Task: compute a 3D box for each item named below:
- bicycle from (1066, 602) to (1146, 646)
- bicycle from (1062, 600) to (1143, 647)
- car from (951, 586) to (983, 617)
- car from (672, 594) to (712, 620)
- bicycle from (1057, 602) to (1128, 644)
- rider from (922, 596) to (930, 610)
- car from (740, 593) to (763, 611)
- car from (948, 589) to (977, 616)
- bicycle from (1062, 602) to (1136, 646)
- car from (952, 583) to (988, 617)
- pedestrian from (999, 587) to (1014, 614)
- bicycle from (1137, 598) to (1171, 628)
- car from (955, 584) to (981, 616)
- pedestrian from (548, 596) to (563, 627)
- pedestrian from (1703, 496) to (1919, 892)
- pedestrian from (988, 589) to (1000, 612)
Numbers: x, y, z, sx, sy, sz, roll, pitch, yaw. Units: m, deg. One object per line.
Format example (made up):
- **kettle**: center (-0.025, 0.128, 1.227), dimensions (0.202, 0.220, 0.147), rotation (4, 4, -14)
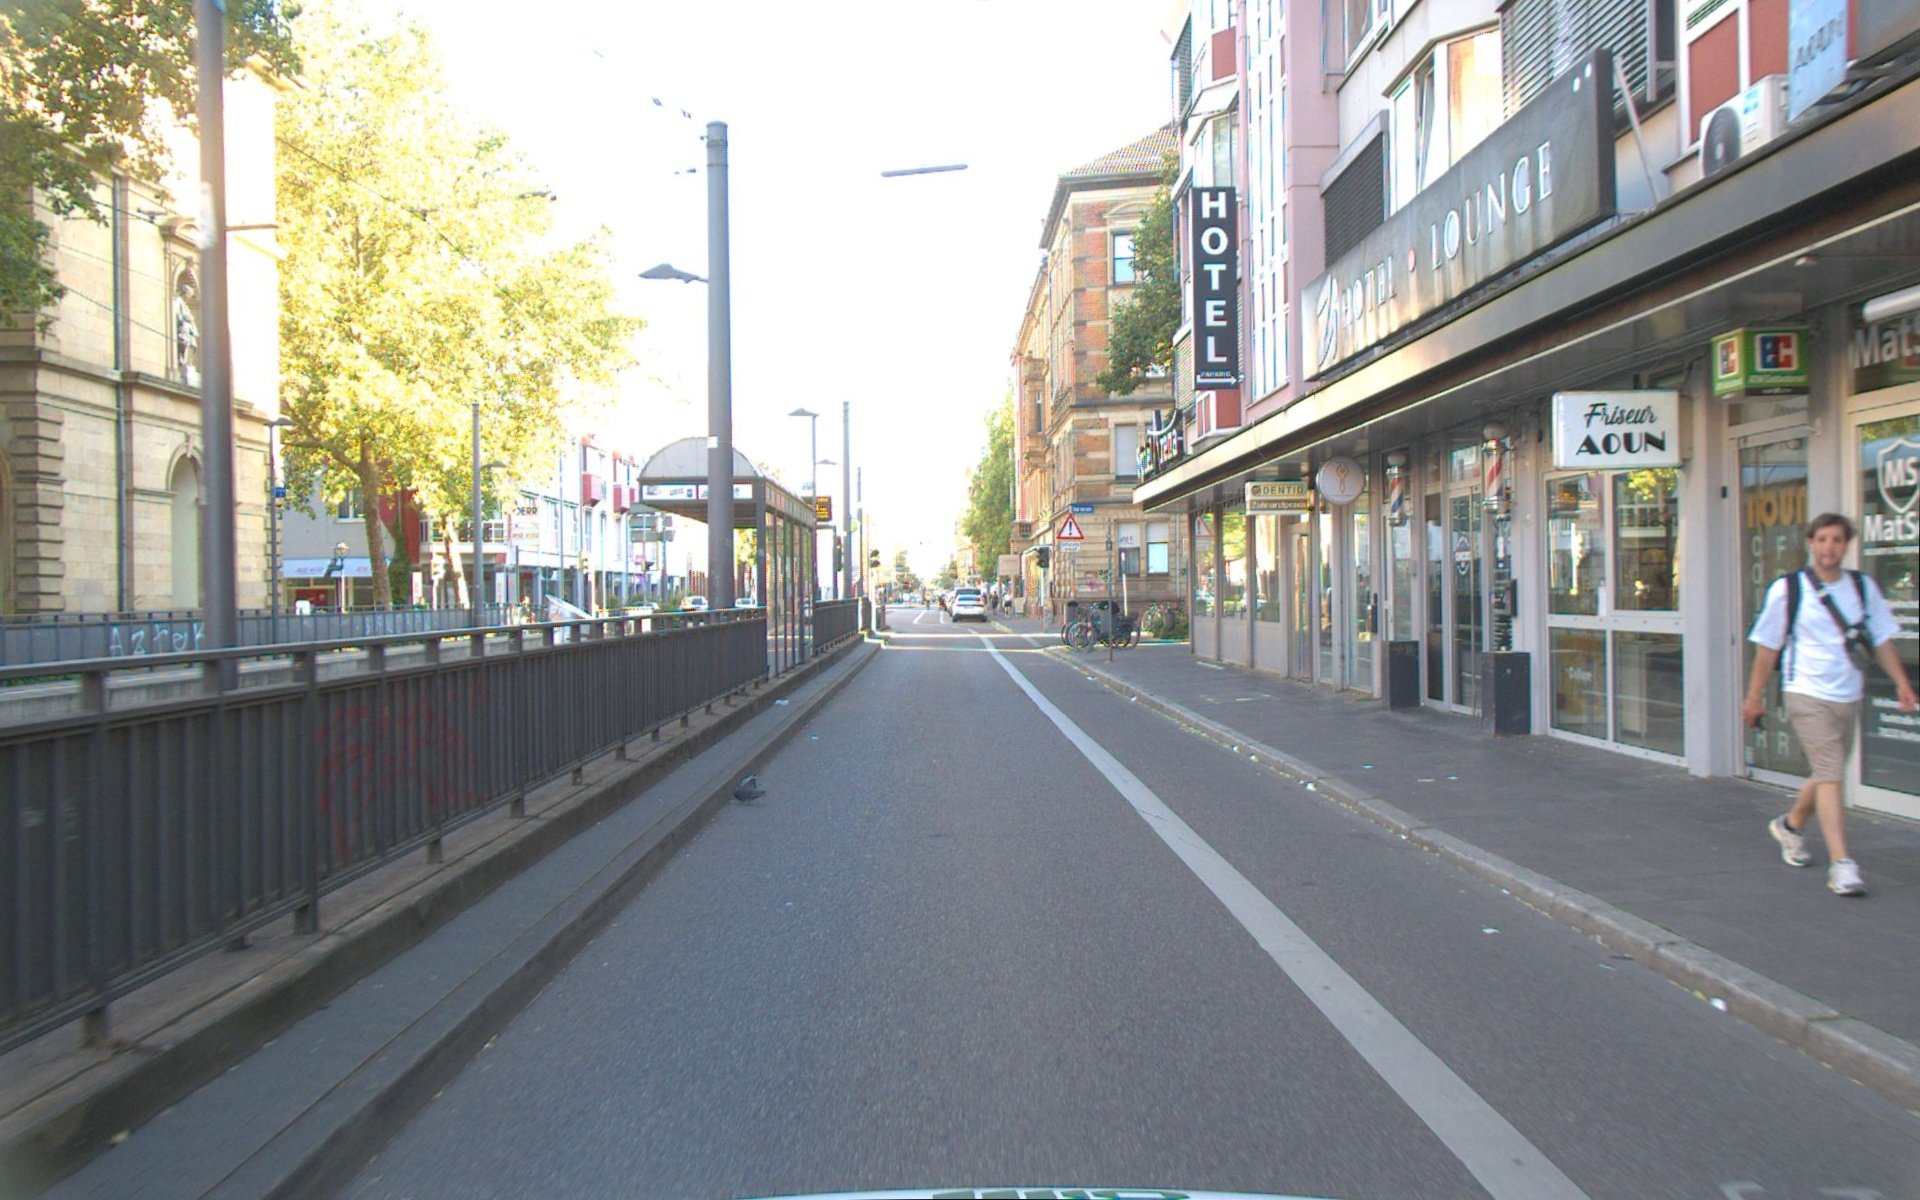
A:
- **bicycle**: center (3.607, 0.586, 40.934), dimensions (1.875, 1.066, 0.680), rotation (-1, 0, -4)
- **bicycle**: center (3.578, 0.588, 41.591), dimensions (1.931, 1.124, 0.614), rotation (-1, 0, -4)
- **car**: center (0.465, 0.100, 103.358), dimensions (1.915, 1.901, 4.989), rotation (1, 0, 0)
- **car**: center (-18.549, 0.522, 114.689), dimensions (2.048, 1.743, 4.817), rotation (1, -1, -2)
- **bicycle**: center (3.511, 0.606, 43.993), dimensions (1.797, 1.072, 0.710), rotation (-1, 0, -4)
- **rider**: center (-3.876, 0.334, 187.647), dimensions (0.865, 1.507, 0.713), rotation (1, 0, 0)
- **car**: center (-18.748, 0.193, 148.826), dimensions (1.832, 1.628, 4.251), rotation (0, 0, -4)
- **car**: center (0.144, 0.186, 119.460), dimensions (1.910, 1.819, 5.179), rotation (1, 0, -2)
- **bicycle**: center (3.558, 0.608, 42.320), dimensions (1.797, 1.072, 0.717), rotation (-1, 0, -4)
- **car**: center (0.521, 0.027, 91.353), dimensions (1.926, 1.802, 4.875), rotation (0, 0, 0)
- **pedestrian**: center (2.776, 0.033, 98.778), dimensions (0.760, 1.594, 0.914), rotation (-4, 0, 2)
- **bicycle**: center (6.953, 0.456, 59.355), dimensions (0.444, 1.042, 1.897), rotation (-1, 0, -19)
- **car**: center (0.549, 0.014, 114.087), dimensions (1.670, 2.157, 3.707), rotation (0, -1, 2)
- **pedestrian**: center (-22.728, 0.638, 92.925), dimensions (0.728, 1.742, 0.615), rotation (-1, 0, -5)
- **pedestrian**: center (4.275, 0.418, 7.993), dimensions (0.782, 1.752, 1.061), rotation (-4, -1, 0)
- **pedestrian**: center (2.465, 0.040, 120.089), dimensions (0.760, 1.594, 0.914), rotation (-4, 0, 0)
